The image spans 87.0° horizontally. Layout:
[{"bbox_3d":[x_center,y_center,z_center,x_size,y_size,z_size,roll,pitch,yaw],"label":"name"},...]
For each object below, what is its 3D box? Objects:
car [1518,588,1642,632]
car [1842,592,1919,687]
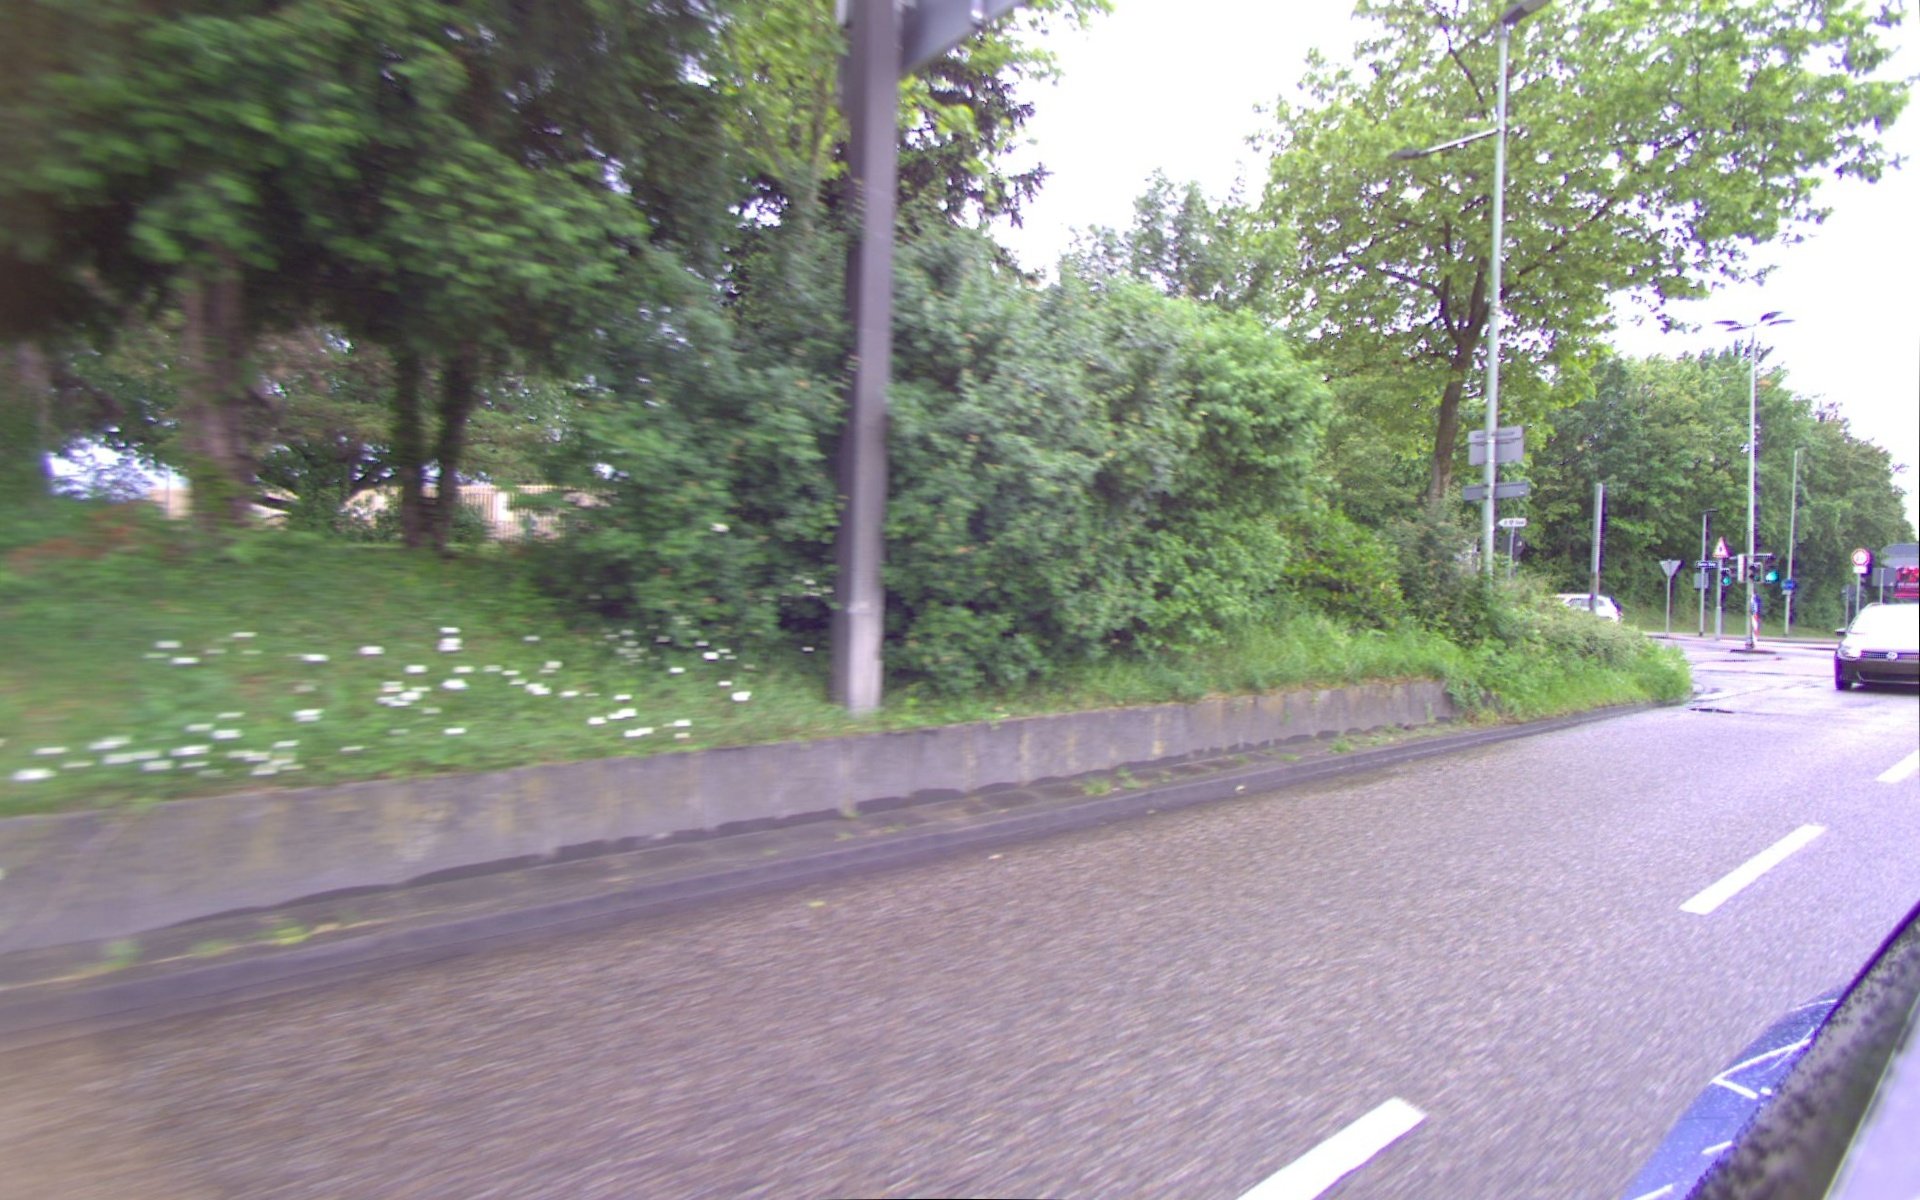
[{"bbox_3d":[27.524,0.410,45.050,4.233,1.749,2.001,2,0,-1],"label":"car"},{"bbox_3d":[17.959,0.716,18.816,3.909,1.629,1.751,1,0,-40],"label":"car"}]
